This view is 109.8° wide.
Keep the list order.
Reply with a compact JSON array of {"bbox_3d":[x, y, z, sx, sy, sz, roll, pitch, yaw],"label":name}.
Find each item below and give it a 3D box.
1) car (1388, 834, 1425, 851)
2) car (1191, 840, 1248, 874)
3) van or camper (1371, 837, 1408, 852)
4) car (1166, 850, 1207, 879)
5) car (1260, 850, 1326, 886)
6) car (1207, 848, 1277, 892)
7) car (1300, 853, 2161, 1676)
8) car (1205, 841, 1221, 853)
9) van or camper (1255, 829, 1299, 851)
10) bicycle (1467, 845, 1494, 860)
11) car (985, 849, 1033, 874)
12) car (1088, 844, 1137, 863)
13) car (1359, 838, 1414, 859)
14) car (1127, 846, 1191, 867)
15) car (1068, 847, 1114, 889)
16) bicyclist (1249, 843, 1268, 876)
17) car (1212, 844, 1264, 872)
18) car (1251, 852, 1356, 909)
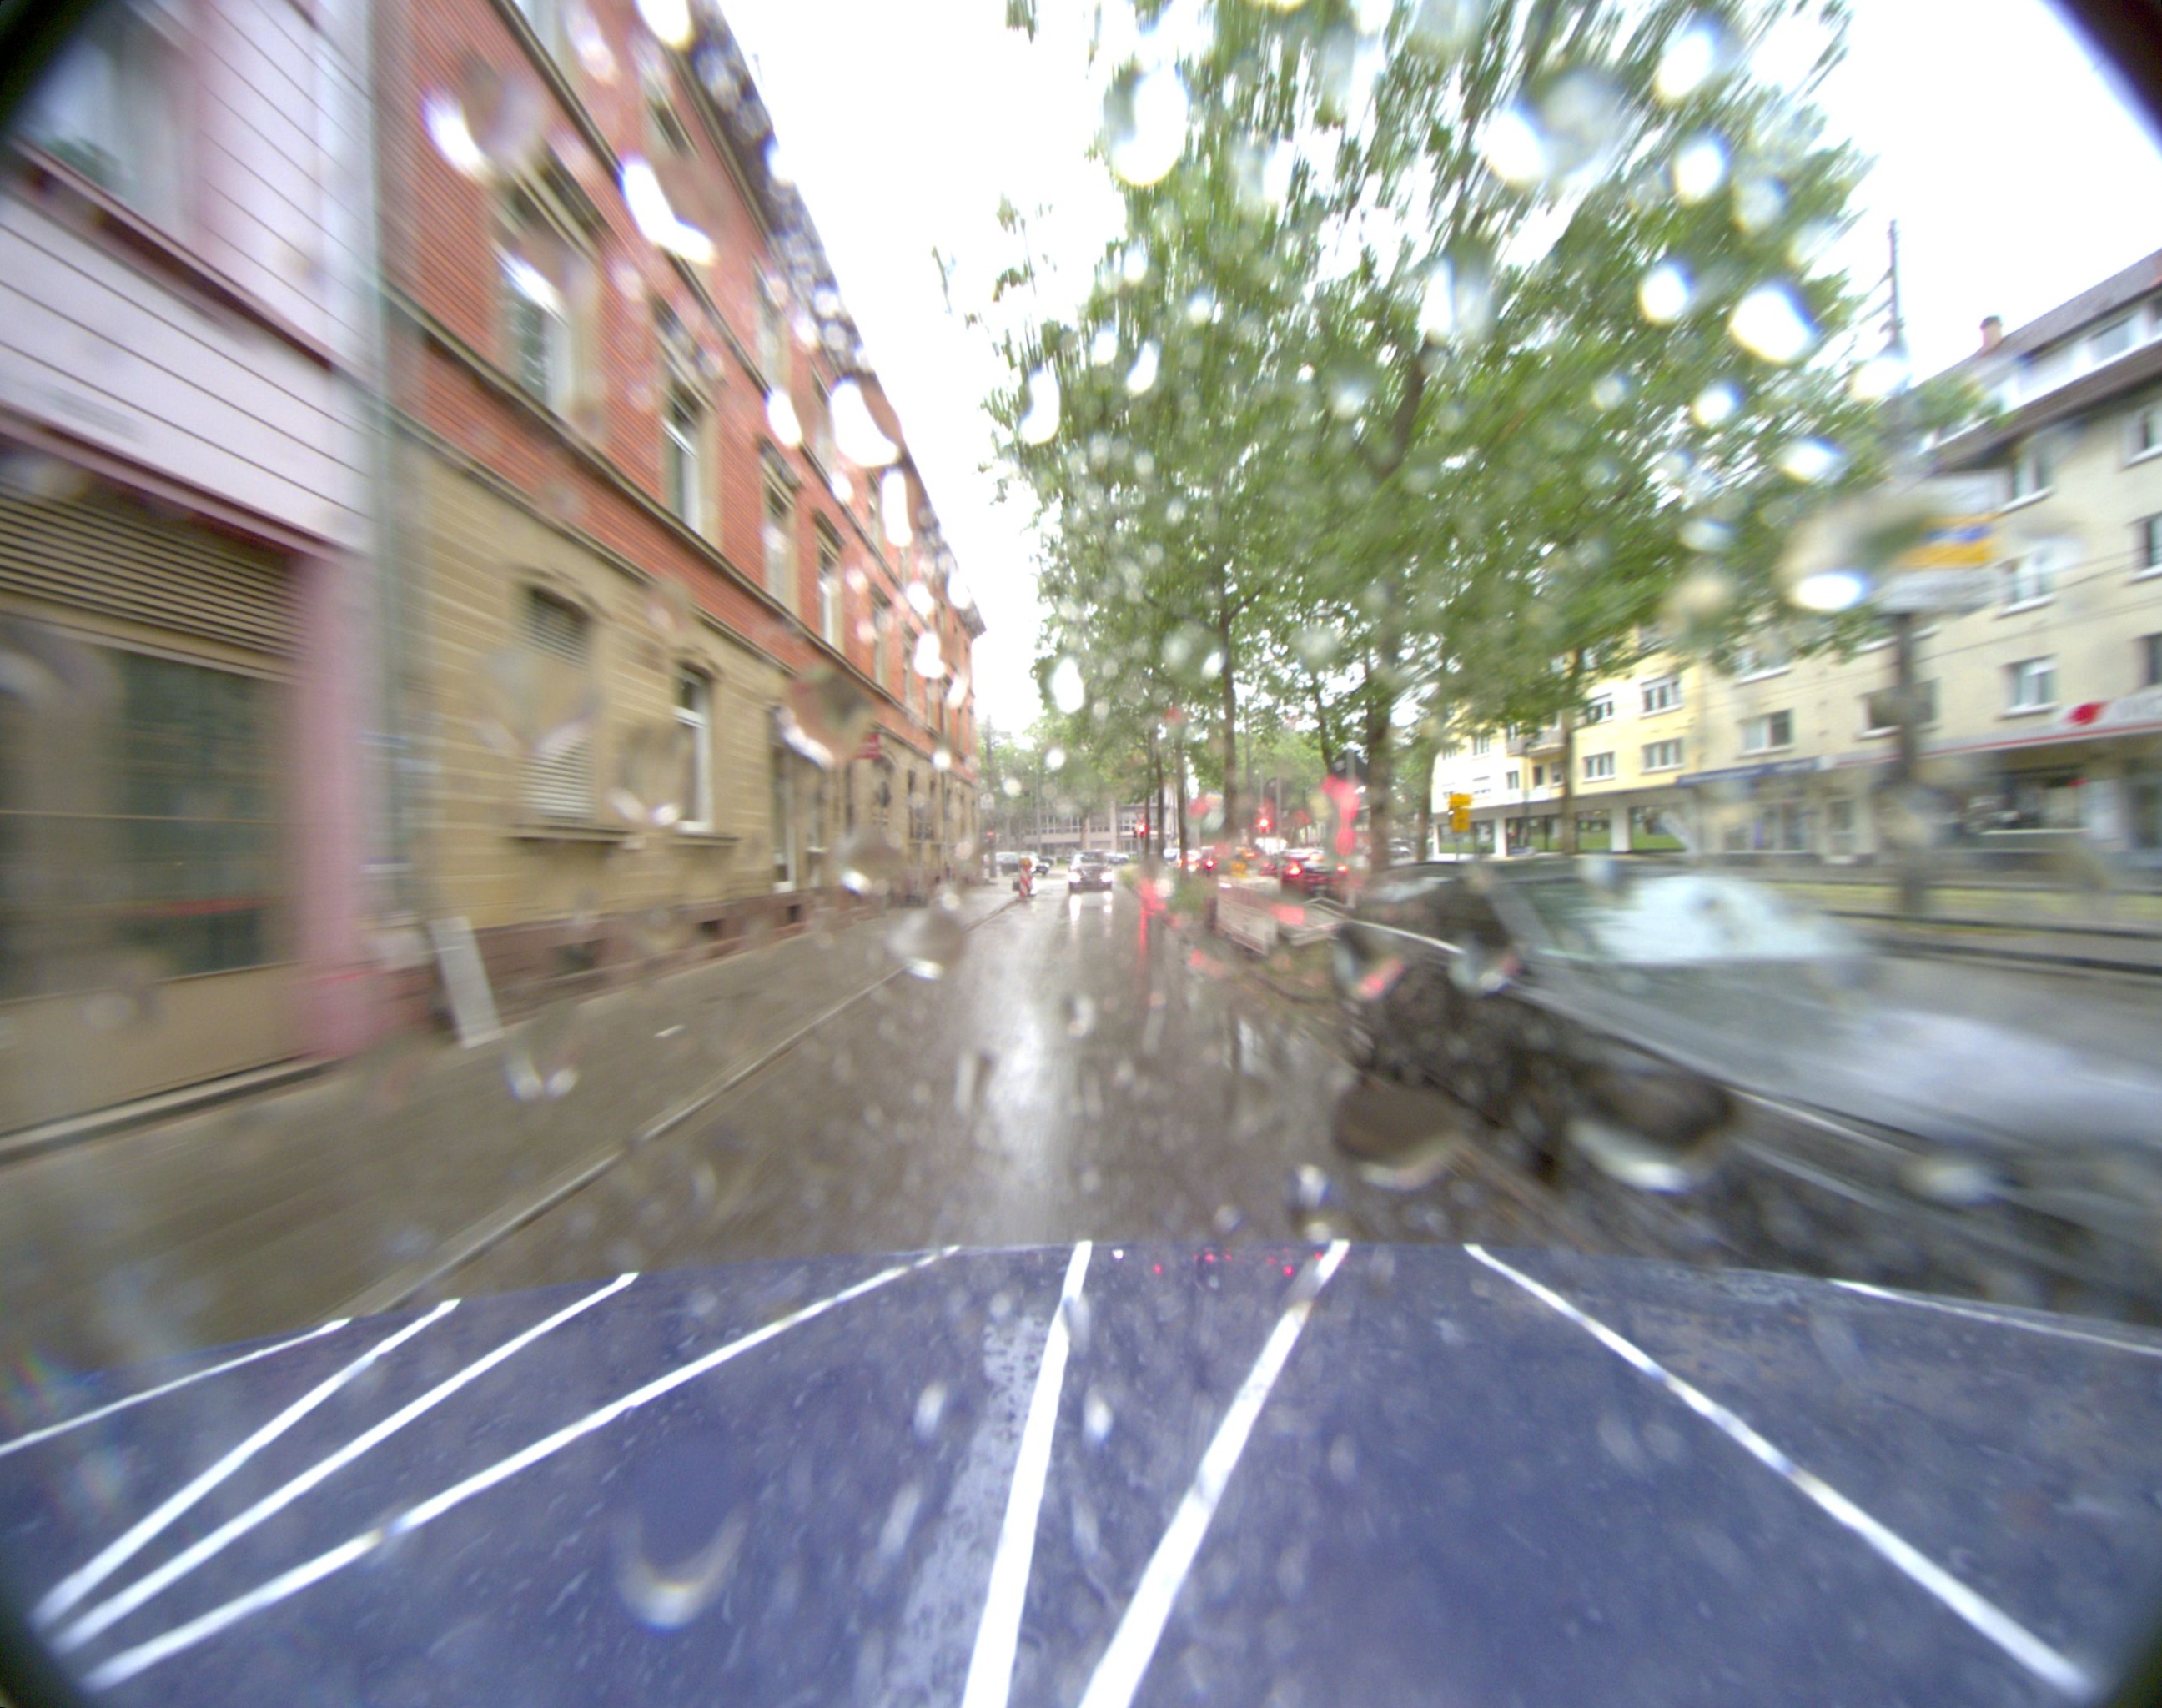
[{"bbox_3d":[43.643,-1.534,102.040,4.389,2.002,2.069,-2,2,17],"label":"car"},{"bbox_3d":[6.593,0.120,36.670,1.861,1.476,4.639,-2,0,0],"label":"car"},{"bbox_3d":[44.774,-1.343,110.252,4.647,2.063,2.001,-1,1,10],"label":"van or camper"},{"bbox_3d":[6.000,0.564,43.549,1.739,1.480,4.500,-2,0,1],"label":"car"},{"bbox_3d":[9.185,0.556,33.254,1.745,1.389,4.130,-2,0,1],"label":"car"},{"bbox_3d":[6.039,0.563,28.991,1.745,1.471,4.431,-2,0,1],"label":"car"},{"bbox_3d":[2.725,0.817,3.815,1.833,1.495,4.612,-3,1,0],"label":"car"},{"bbox_3d":[19.845,-1.080,114.020,2.001,1.762,4.003,-1,1,13],"label":"car"},{"bbox_3d":[23.058,-1.685,89.410,5.981,2.457,2.176,-3,2,-45],"label":"van or camper"},{"bbox_3d":[24.945,-0.096,47.461,0.613,0.891,2.046,-2,1,1],"label":"bicycle"},{"bbox_3d":[-6.281,0.635,66.204,4.000,2.003,1.998,-1,2,-9],"label":"car"},{"bbox_3d":[3.141,-0.082,74.821,4.563,1.650,1.783,-3,2,-32],"label":"car"},{"bbox_3d":[28.394,-0.513,70.724,4.265,1.732,1.975,-2,2,-4],"label":"car"},{"bbox_3d":[7.024,0.224,68.242,5.337,1.583,1.947,-3,1,-11],"label":"car"},{"bbox_3d":[0.395,0.585,34.850,1.913,1.637,4.678,-2,2,-1],"label":"car"},{"bbox_3d":[9.516,0.278,40.704,0.714,1.706,0.889,-2,2,-3],"label":"bicyclist"},{"bbox_3d":[9.168,0.199,44.737,1.879,1.493,4.282,-2,0,-4],"label":"car"},{"bbox_3d":[6.171,0.680,21.560,1.745,1.389,4.233,-2,0,1],"label":"car"}]
